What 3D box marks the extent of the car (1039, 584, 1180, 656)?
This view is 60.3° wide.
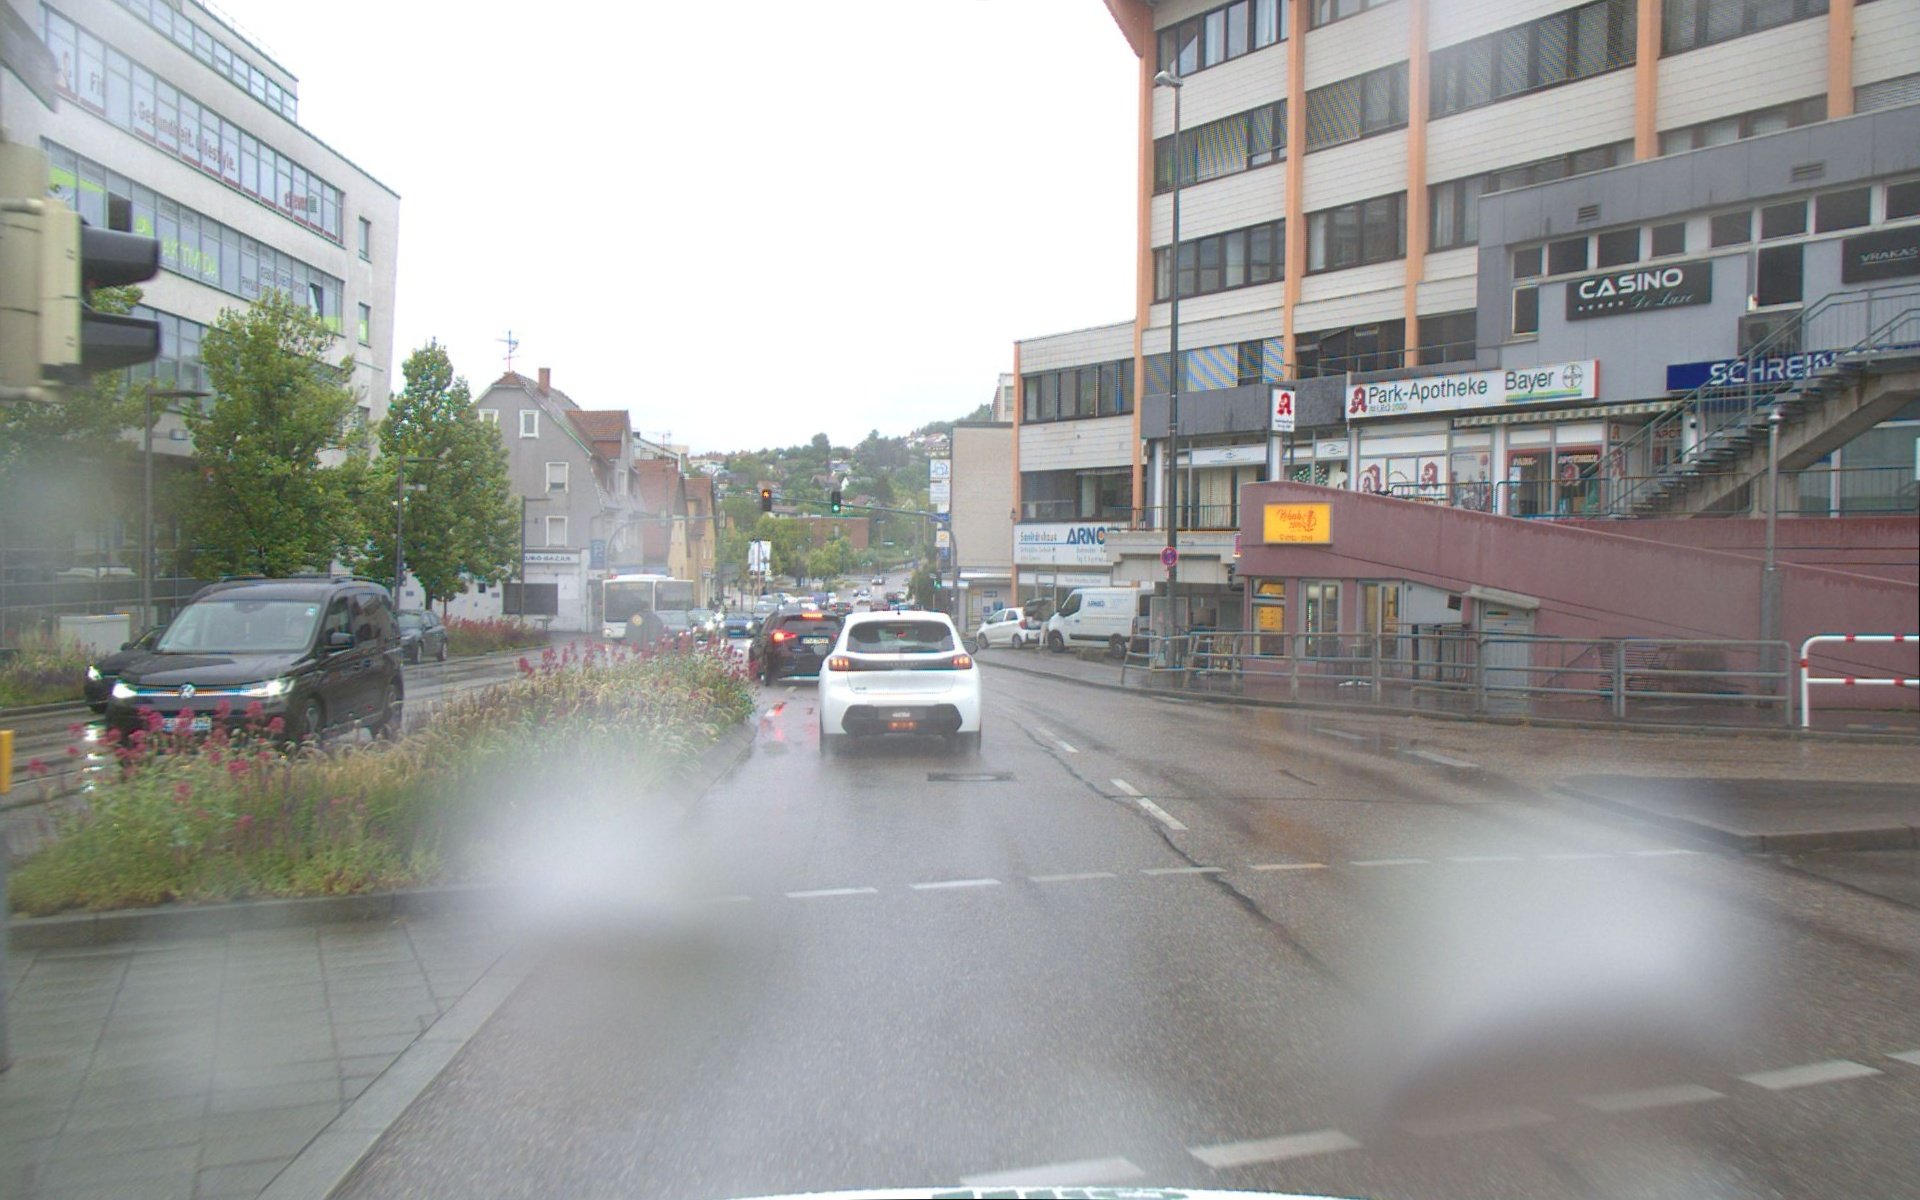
[{"bbox_3d":[5.042,0.632,56.352,1.980,2.265,4.909,-2,2,-38],"label":"car"}]

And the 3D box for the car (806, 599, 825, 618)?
[{"bbox_3d":[-13.679,0.800,156.929,1.711,1.582,3.998,-1,2,-3],"label":"car"}]

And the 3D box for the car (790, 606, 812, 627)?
[{"bbox_3d":[-13.640,1.393,142.307,1.711,1.582,3.998,-1,2,-3],"label":"car"}]

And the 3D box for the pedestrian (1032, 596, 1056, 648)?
[{"bbox_3d":[3.033,0.787,59.910,0.634,1.854,0.575,-1,1,-35],"label":"pedestrian"}]

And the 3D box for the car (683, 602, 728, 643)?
[{"bbox_3d":[-11.112,0.954,72.403,1.781,1.582,3.994,-1,2,-7],"label":"car"}]

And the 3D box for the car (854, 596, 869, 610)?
[{"bbox_3d":[-12.002,0.355,201.394,1.711,1.582,3.998,-1,2,-3],"label":"car"}]

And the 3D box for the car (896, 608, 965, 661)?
[{"bbox_3d":[-0.910,1.003,49.532,1.874,1.424,3.455,1,1,-4],"label":"car"}]

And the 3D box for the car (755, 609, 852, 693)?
[{"bbox_3d":[-3.082,1.005,32.763,1.780,1.557,3.807,1,-2,-5],"label":"car"}]

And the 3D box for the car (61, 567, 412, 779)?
[{"bbox_3d":[-7.221,0.661,17.041,1.954,1.855,4.294,-2,0,-4],"label":"car"}]

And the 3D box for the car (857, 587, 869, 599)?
[{"bbox_3d":[-13.969,-0.981,237.833,1.711,1.582,3.998,-1,2,-3],"label":"car"}]

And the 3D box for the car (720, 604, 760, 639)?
[{"bbox_3d":[-11.243,1.078,84.650,1.779,1.582,3.997,-1,2,-4],"label":"car"}]

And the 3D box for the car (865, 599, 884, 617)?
[{"bbox_3d":[-8.035,0.750,154.734,1.711,1.582,3.998,-1,2,-3],"label":"car"}]

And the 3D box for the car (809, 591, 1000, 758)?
[{"bbox_3d":[-0.653,0.718,18.089,1.835,1.487,3.871,1,2,-4],"label":"car"}]

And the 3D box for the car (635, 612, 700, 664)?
[{"bbox_3d":[-10.243,1.309,58.150,1.856,1.582,3.997,-1,2,-4],"label":"car"}]

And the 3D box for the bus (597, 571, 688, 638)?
[{"bbox_3d":[-14.930,0.107,78.423,2.880,2.831,9.500,-1,2,-3],"label":"bus"}]

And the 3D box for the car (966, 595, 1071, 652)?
[{"bbox_3d":[2.137,0.844,61.359,1.869,1.911,4.086,-1,2,-34],"label":"car"}]

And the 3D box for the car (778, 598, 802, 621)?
[{"bbox_3d":[-13.104,0.722,127.609,1.711,1.582,3.998,-1,2,-3],"label":"car"}]

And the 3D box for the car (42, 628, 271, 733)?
[{"bbox_3d":[-13.090,1.252,27.282,1.691,1.412,4.598,-1,1,-3],"label":"car"}]

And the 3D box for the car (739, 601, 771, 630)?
[{"bbox_3d":[-12.803,0.954,103.666,1.711,1.582,3.998,-1,2,-3],"label":"car"}]

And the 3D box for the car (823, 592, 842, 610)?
[{"bbox_3d":[-13.810,0.116,179.587,1.750,1.713,4.000,1,2,-1],"label":"car"}]
